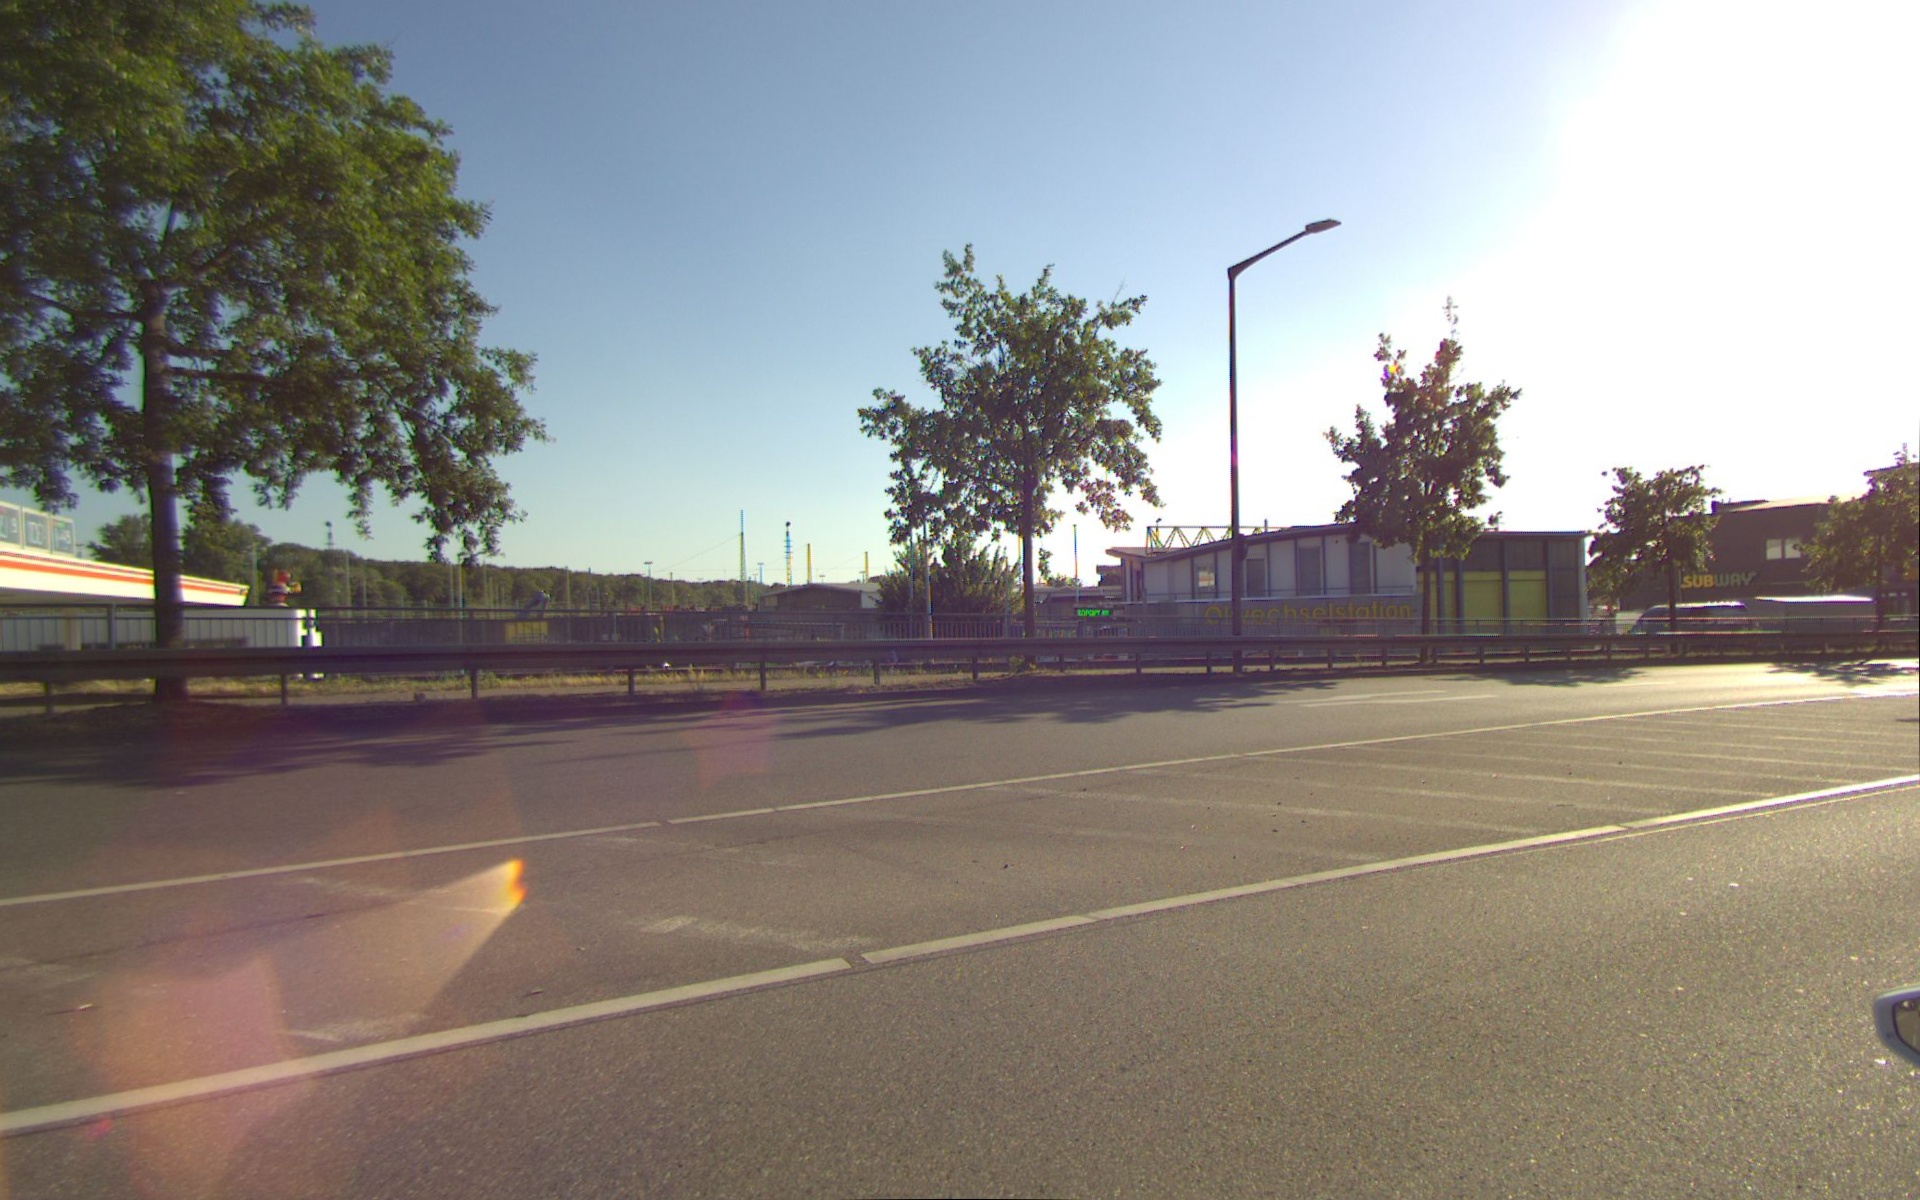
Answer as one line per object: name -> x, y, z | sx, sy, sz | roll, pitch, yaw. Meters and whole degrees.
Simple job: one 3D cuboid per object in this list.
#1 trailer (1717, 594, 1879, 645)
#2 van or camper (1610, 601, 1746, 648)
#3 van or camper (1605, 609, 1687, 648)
trailer -> 34.874, 0.784, 41.788 | 6.509, 1.996, 2.415 | 0, 0, -22
van or camper -> 27.528, 0.905, 38.502 | 4.889, 1.708, 1.989 | 0, 0, -23
van or camper -> 36.136, 1.499, 53.048 | 1.959, 1.951, 4.232 | 1, -1, 10
